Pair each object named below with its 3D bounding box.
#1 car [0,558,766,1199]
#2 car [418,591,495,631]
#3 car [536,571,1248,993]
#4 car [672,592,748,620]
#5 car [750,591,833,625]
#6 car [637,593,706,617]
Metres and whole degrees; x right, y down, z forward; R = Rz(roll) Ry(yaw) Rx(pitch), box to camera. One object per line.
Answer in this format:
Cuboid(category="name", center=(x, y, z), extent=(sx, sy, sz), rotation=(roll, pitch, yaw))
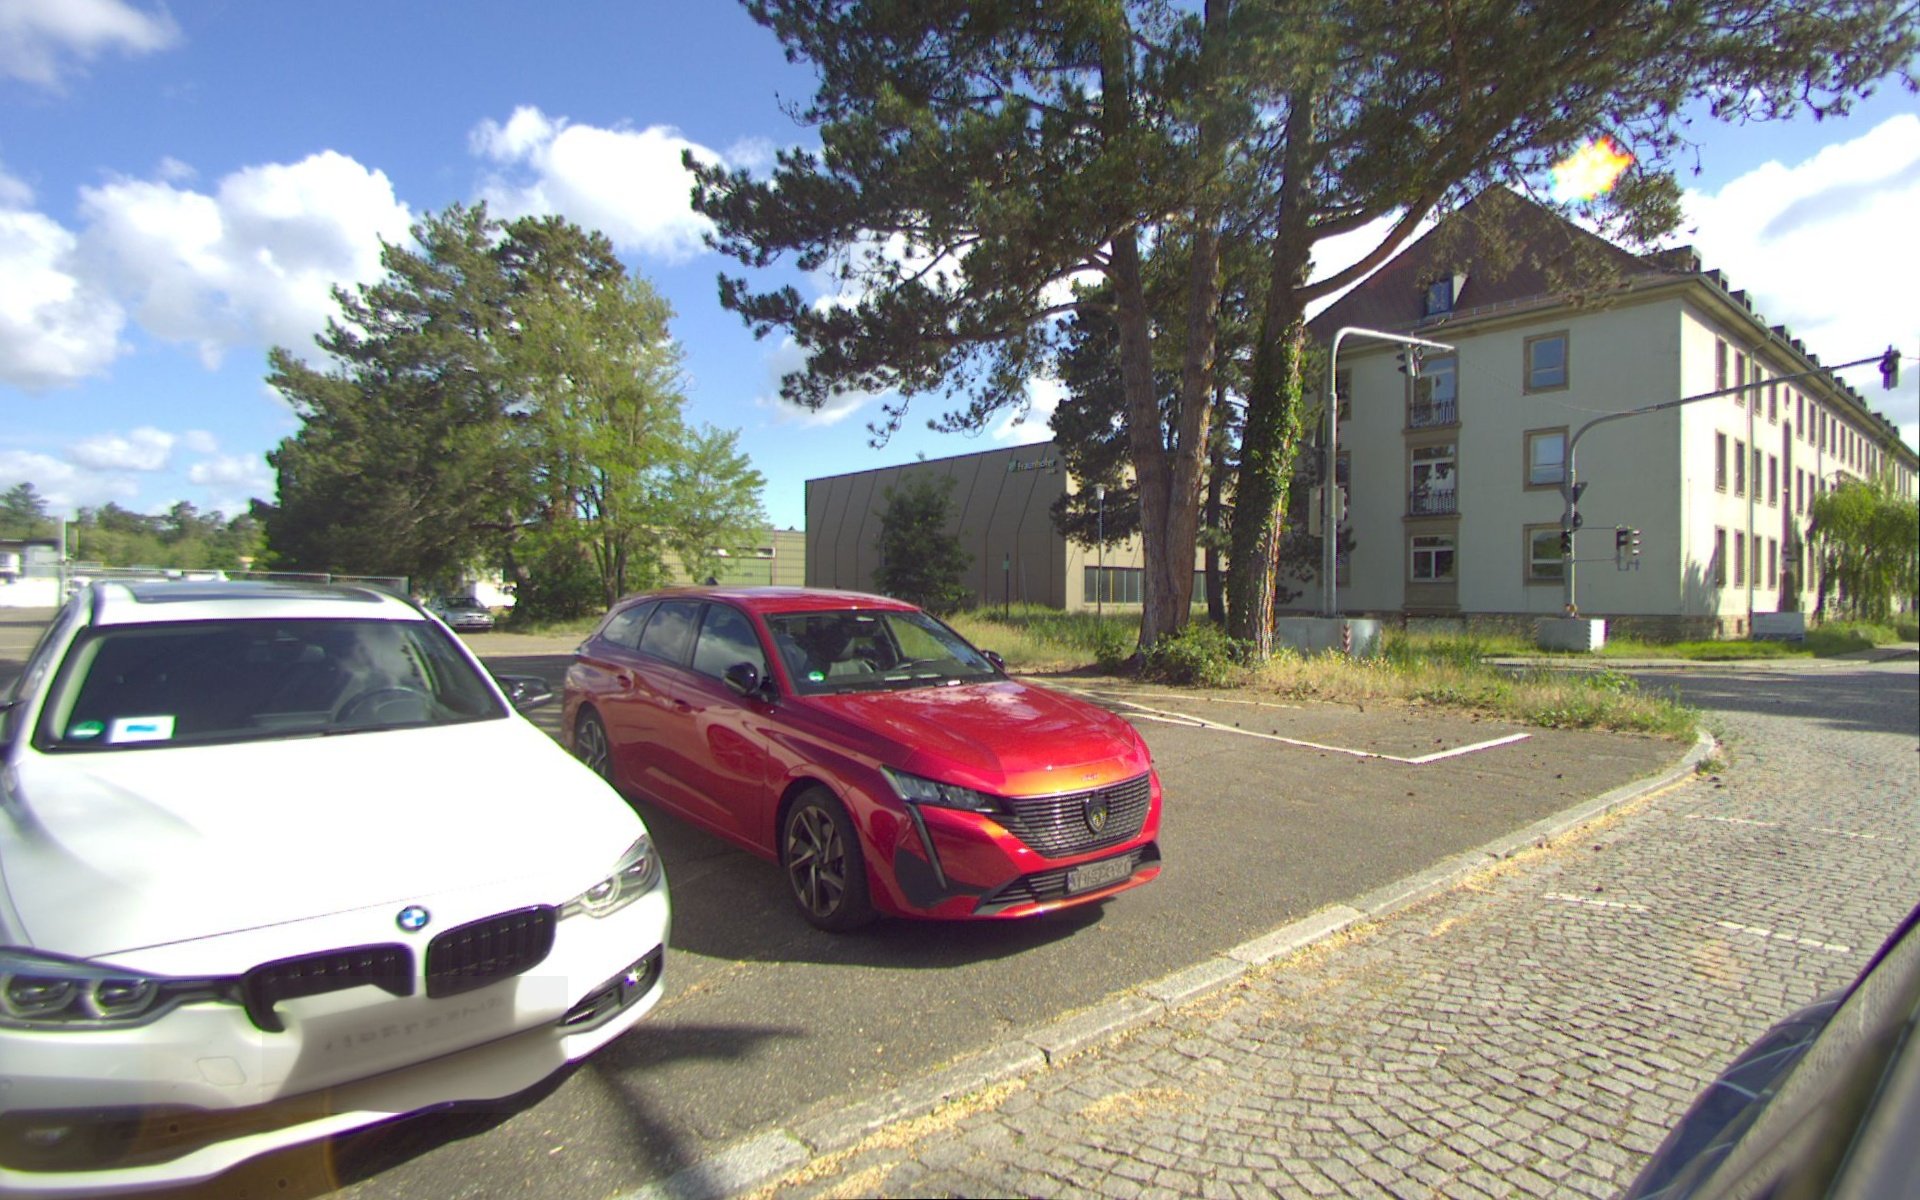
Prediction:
Cuboid(category="car", center=(-2.796, 0.625, 4.131), extent=(1.808, 1.482, 4.519), rotation=(0, 3, -43))
Cuboid(category="car", center=(-19.486, 0.400, 39.117), extent=(1.715, 1.440, 3.994), rotation=(2, -1, -41))
Cuboid(category="car", center=(-0.795, 0.615, 6.045), extent=(1.861, 1.438, 4.545), rotation=(0, 3, -41))
Cuboid(category="car", center=(-15.357, 0.375, 62.192), extent=(4.152, 1.584, 1.858), rotation=(0, -3, -41))
Cuboid(category="car", center=(-9.151, 0.408, 55.063), extent=(3.989, 1.583, 1.860), rotation=(-4, 2, -39))
Cuboid(category="car", center=(-19.531, 0.336, 68.481), extent=(4.152, 1.584, 1.778), rotation=(0, -1, -41))
